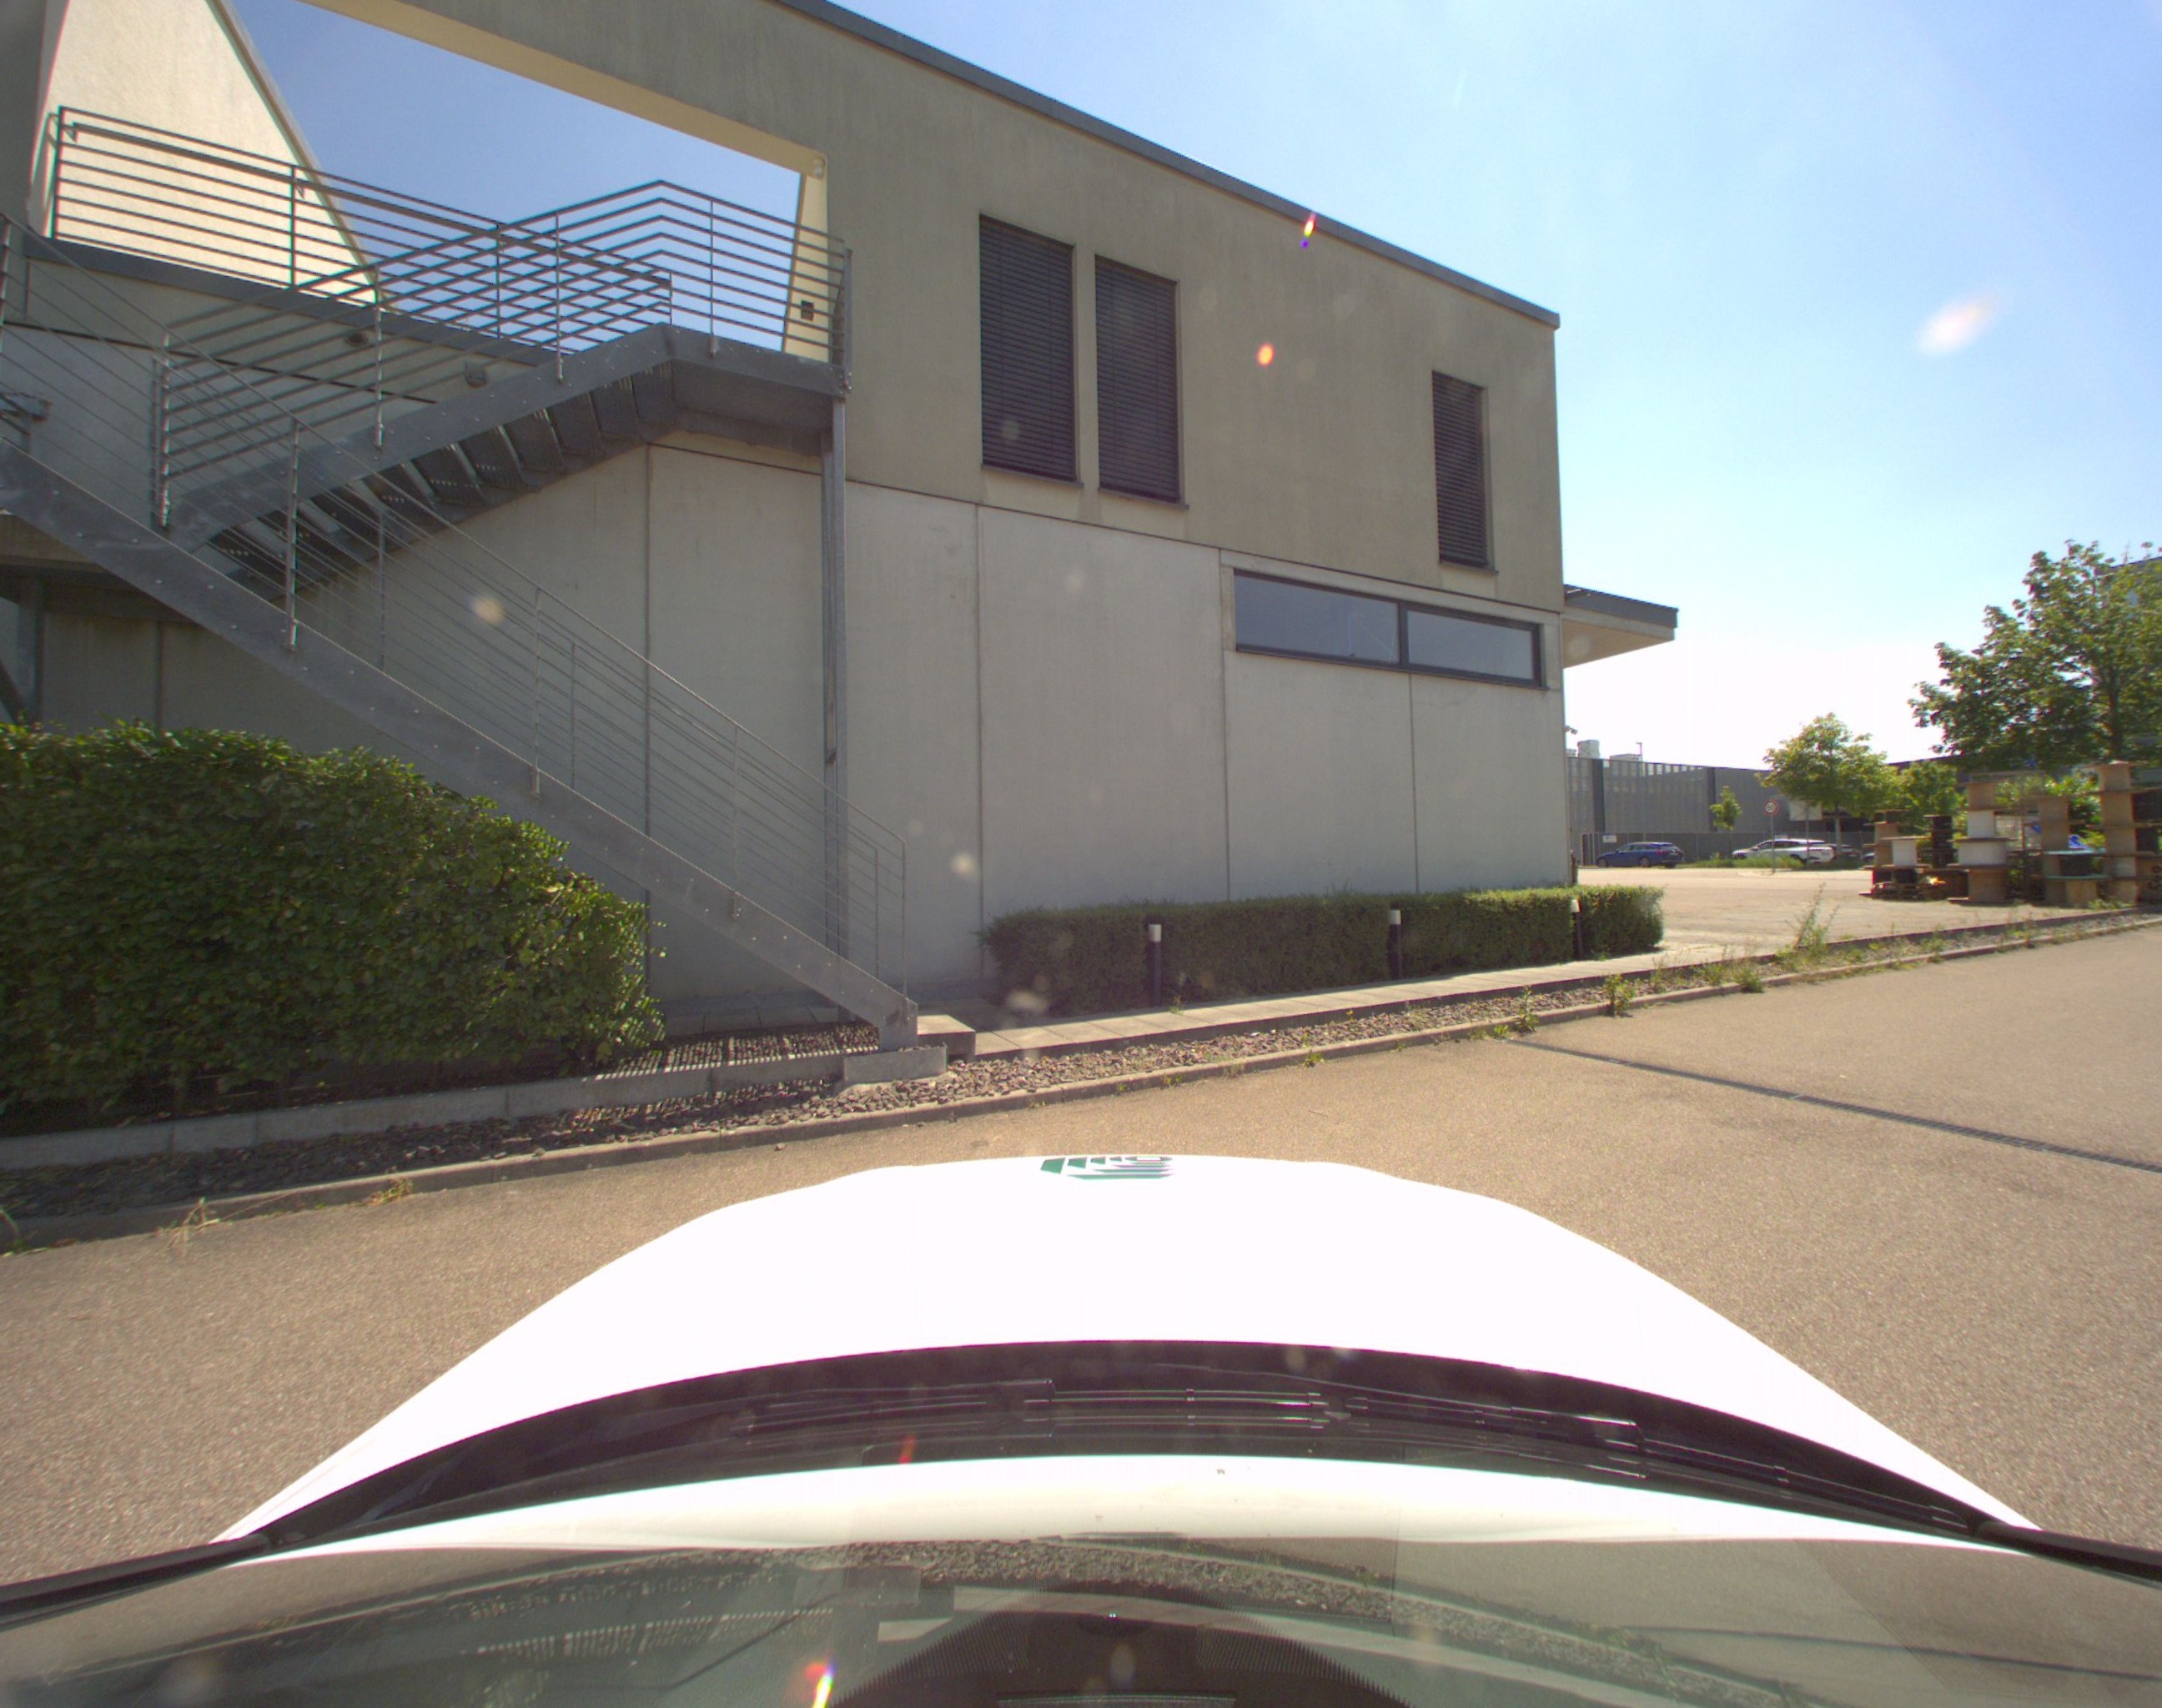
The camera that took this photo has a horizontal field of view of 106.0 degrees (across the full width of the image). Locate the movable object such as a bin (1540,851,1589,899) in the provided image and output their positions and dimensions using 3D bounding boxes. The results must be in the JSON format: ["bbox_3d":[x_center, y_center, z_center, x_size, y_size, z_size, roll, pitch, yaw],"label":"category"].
[{"bbox_3d":[14.044,0.612,23.670,0.884,1.345,0.808,-1,-1,-19],"label":"movable object such as a bin"}]

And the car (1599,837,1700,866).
[{"bbox_3d":[31.641,-0.139,45.480,1.994,1.491,4.498,-2,0,-11],"label":"car"}]

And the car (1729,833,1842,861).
[{"bbox_3d":[41.158,-0.406,47.753,1.994,1.491,4.837,-2,0,-11],"label":"car"}]

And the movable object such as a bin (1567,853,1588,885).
[{"bbox_3d":[16.848,0.508,27.658,0.571,1.036,0.428,-2,-1,32],"label":"movable object such as a bin"}]
